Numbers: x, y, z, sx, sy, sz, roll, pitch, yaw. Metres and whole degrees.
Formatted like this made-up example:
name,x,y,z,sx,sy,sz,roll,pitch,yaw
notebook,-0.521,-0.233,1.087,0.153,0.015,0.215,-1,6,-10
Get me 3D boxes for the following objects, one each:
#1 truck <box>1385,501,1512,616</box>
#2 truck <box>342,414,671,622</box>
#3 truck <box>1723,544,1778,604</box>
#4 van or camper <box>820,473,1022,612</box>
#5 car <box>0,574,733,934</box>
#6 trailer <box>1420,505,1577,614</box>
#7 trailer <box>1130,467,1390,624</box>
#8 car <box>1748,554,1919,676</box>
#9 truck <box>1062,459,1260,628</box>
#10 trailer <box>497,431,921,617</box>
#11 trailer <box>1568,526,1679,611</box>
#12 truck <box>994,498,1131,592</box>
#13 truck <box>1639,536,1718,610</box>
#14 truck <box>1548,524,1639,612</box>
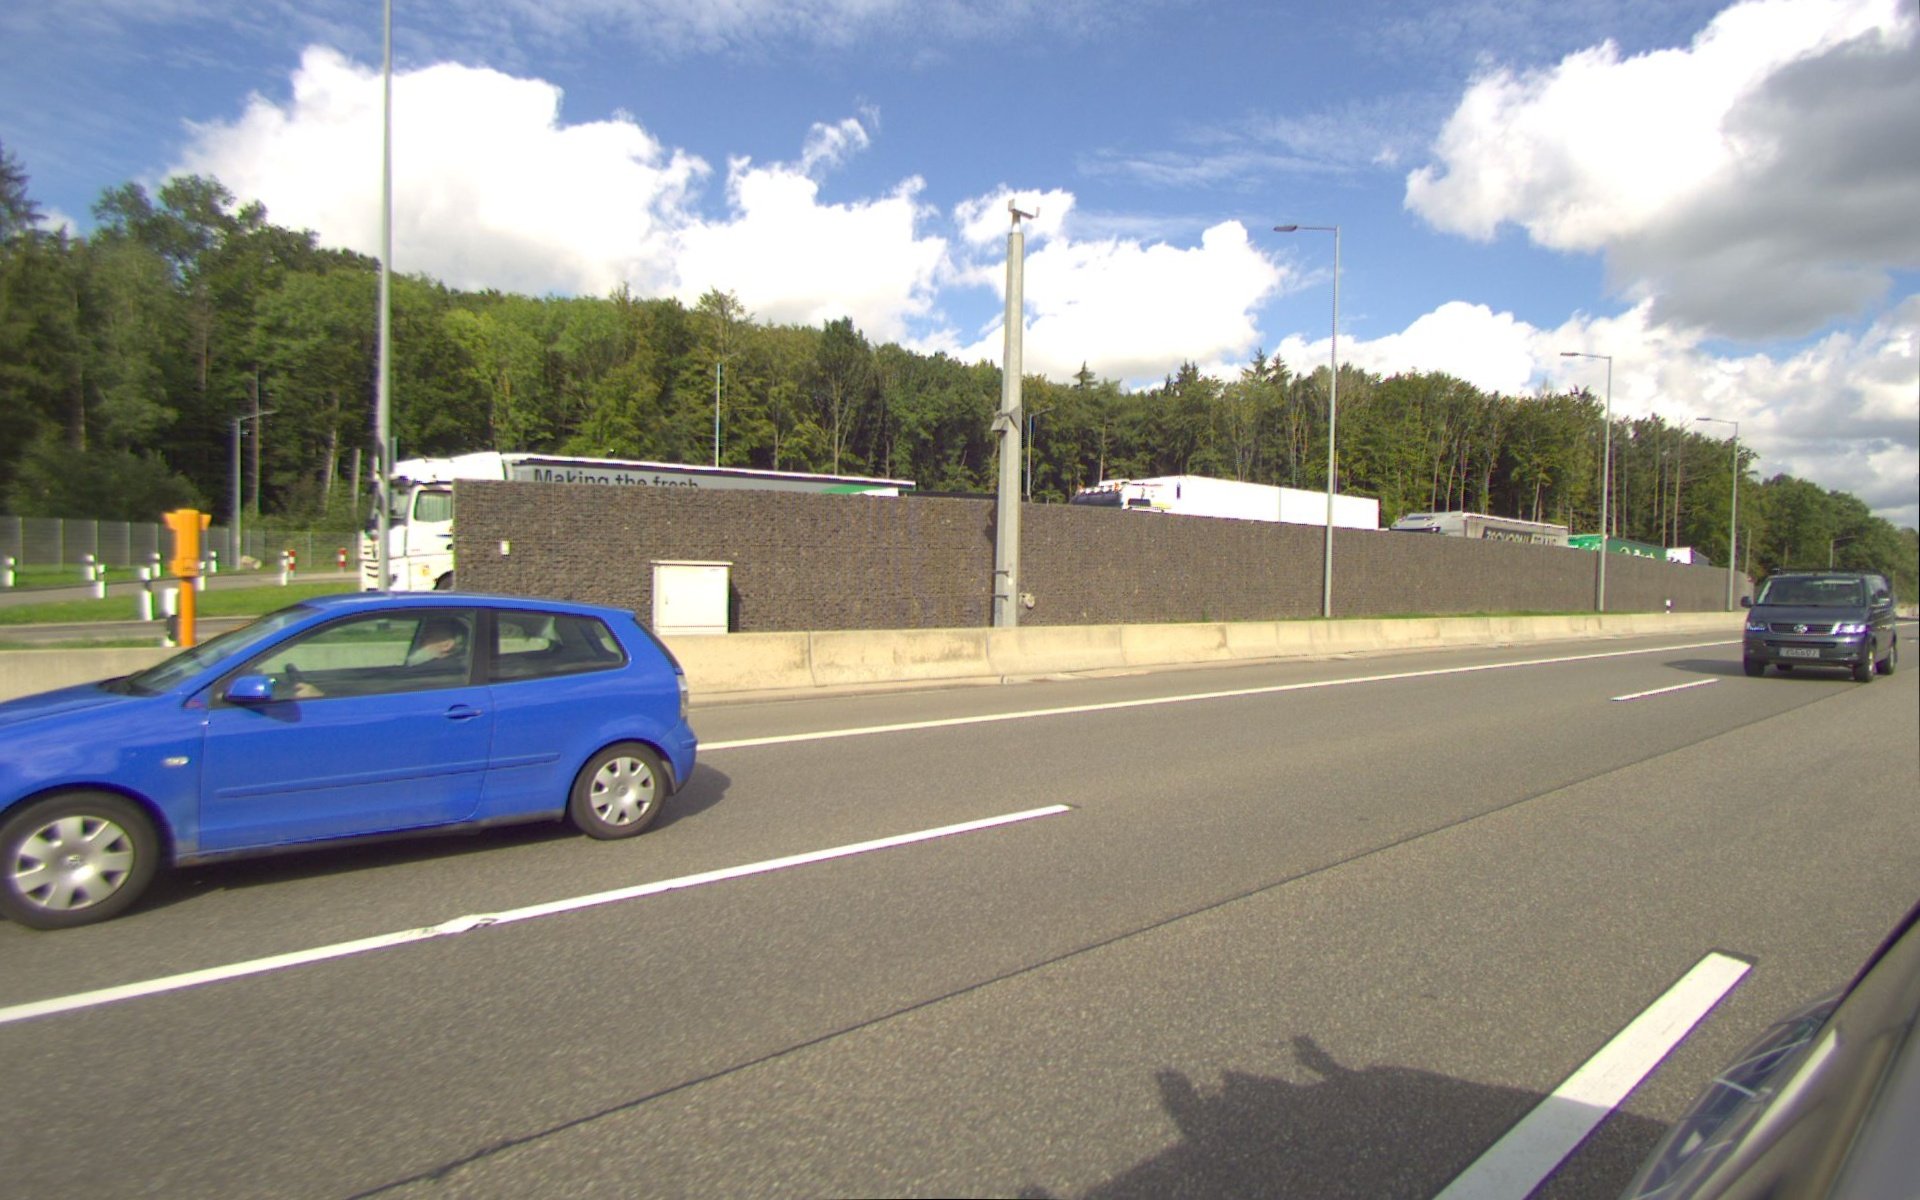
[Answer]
name,x,y,z,sx,sy,sz,roll,pitch,yaw
truck,22.813,-1.833,47.104,7.135,4.986,2.659,0,2,-41
truck,-11.298,-1.866,25.778,2.871,4.563,7.066,2,2,43
truck,68.341,-2.217,87.462,5.846,4.986,2.659,0,2,-41
van or camper,-0.949,-1.371,26.001,4.656,3.237,2.394,0,1,-39
car,-3.428,0.611,5.621,3.930,1.460,1.652,0,1,-41
trailer,27.481,-1.890,51.206,12.522,4.986,2.659,0,2,-41
trailer,11.498,-1.771,37.398,12.884,4.986,2.659,0,2,-41
car,17.386,0.255,19.912,4.842,2.136,1.854,0,0,-38
truck,6.697,-1.710,33.147,6.864,4.986,2.659,0,2,-41
trailer,-6.817,-1.937,30.476,2.872,4.563,12.794,2,2,44
trailer,42.583,-1.910,64.684,12.513,4.986,2.659,0,2,-41
truck,4.818,-2.416,46.994,6.147,4.075,2.979,-1,0,-42
truck,50.939,-1.856,71.709,7.253,4.986,2.660,0,1,-40
truck,37.973,-1.847,60.558,6.848,4.986,2.659,0,2,-41
